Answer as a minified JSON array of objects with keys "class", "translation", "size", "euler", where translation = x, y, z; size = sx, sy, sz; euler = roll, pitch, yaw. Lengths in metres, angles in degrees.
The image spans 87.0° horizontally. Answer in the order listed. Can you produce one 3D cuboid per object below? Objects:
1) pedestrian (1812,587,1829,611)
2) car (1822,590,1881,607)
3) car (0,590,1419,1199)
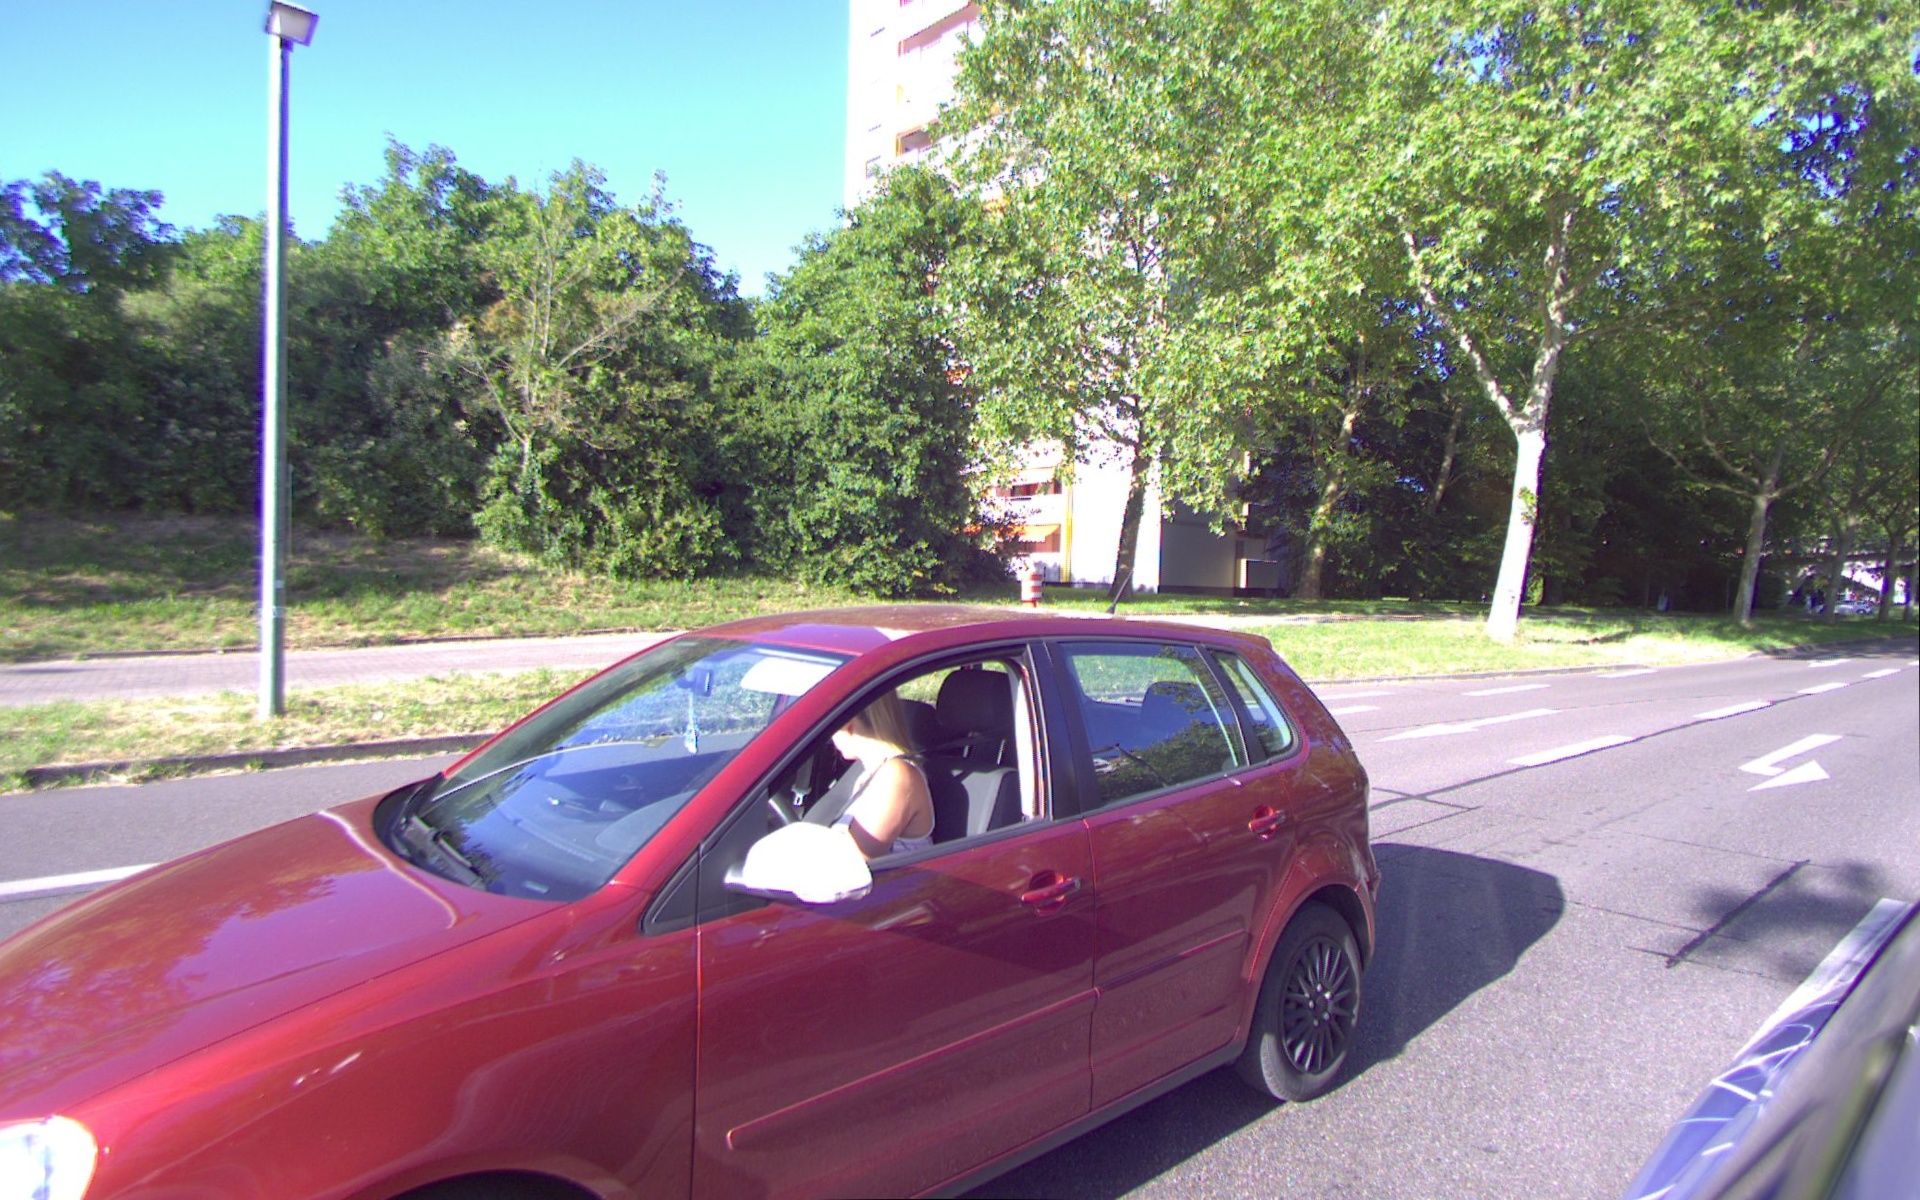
[{"class":"pedestrian","translation":[73.607,-0.068,86.571],"size":[0.944,2.039,0.919],"euler":[0,0,-38]},{"class":"car","translation":[80.692,-0.161,91.663],"size":[3.983,1.493,1.772],"euler":[0,0,42]},{"class":"car","translation":[-0.428,0.709,2.791],"size":[3.694,1.456,1.645],"euler":[-1,1,-40]}]
